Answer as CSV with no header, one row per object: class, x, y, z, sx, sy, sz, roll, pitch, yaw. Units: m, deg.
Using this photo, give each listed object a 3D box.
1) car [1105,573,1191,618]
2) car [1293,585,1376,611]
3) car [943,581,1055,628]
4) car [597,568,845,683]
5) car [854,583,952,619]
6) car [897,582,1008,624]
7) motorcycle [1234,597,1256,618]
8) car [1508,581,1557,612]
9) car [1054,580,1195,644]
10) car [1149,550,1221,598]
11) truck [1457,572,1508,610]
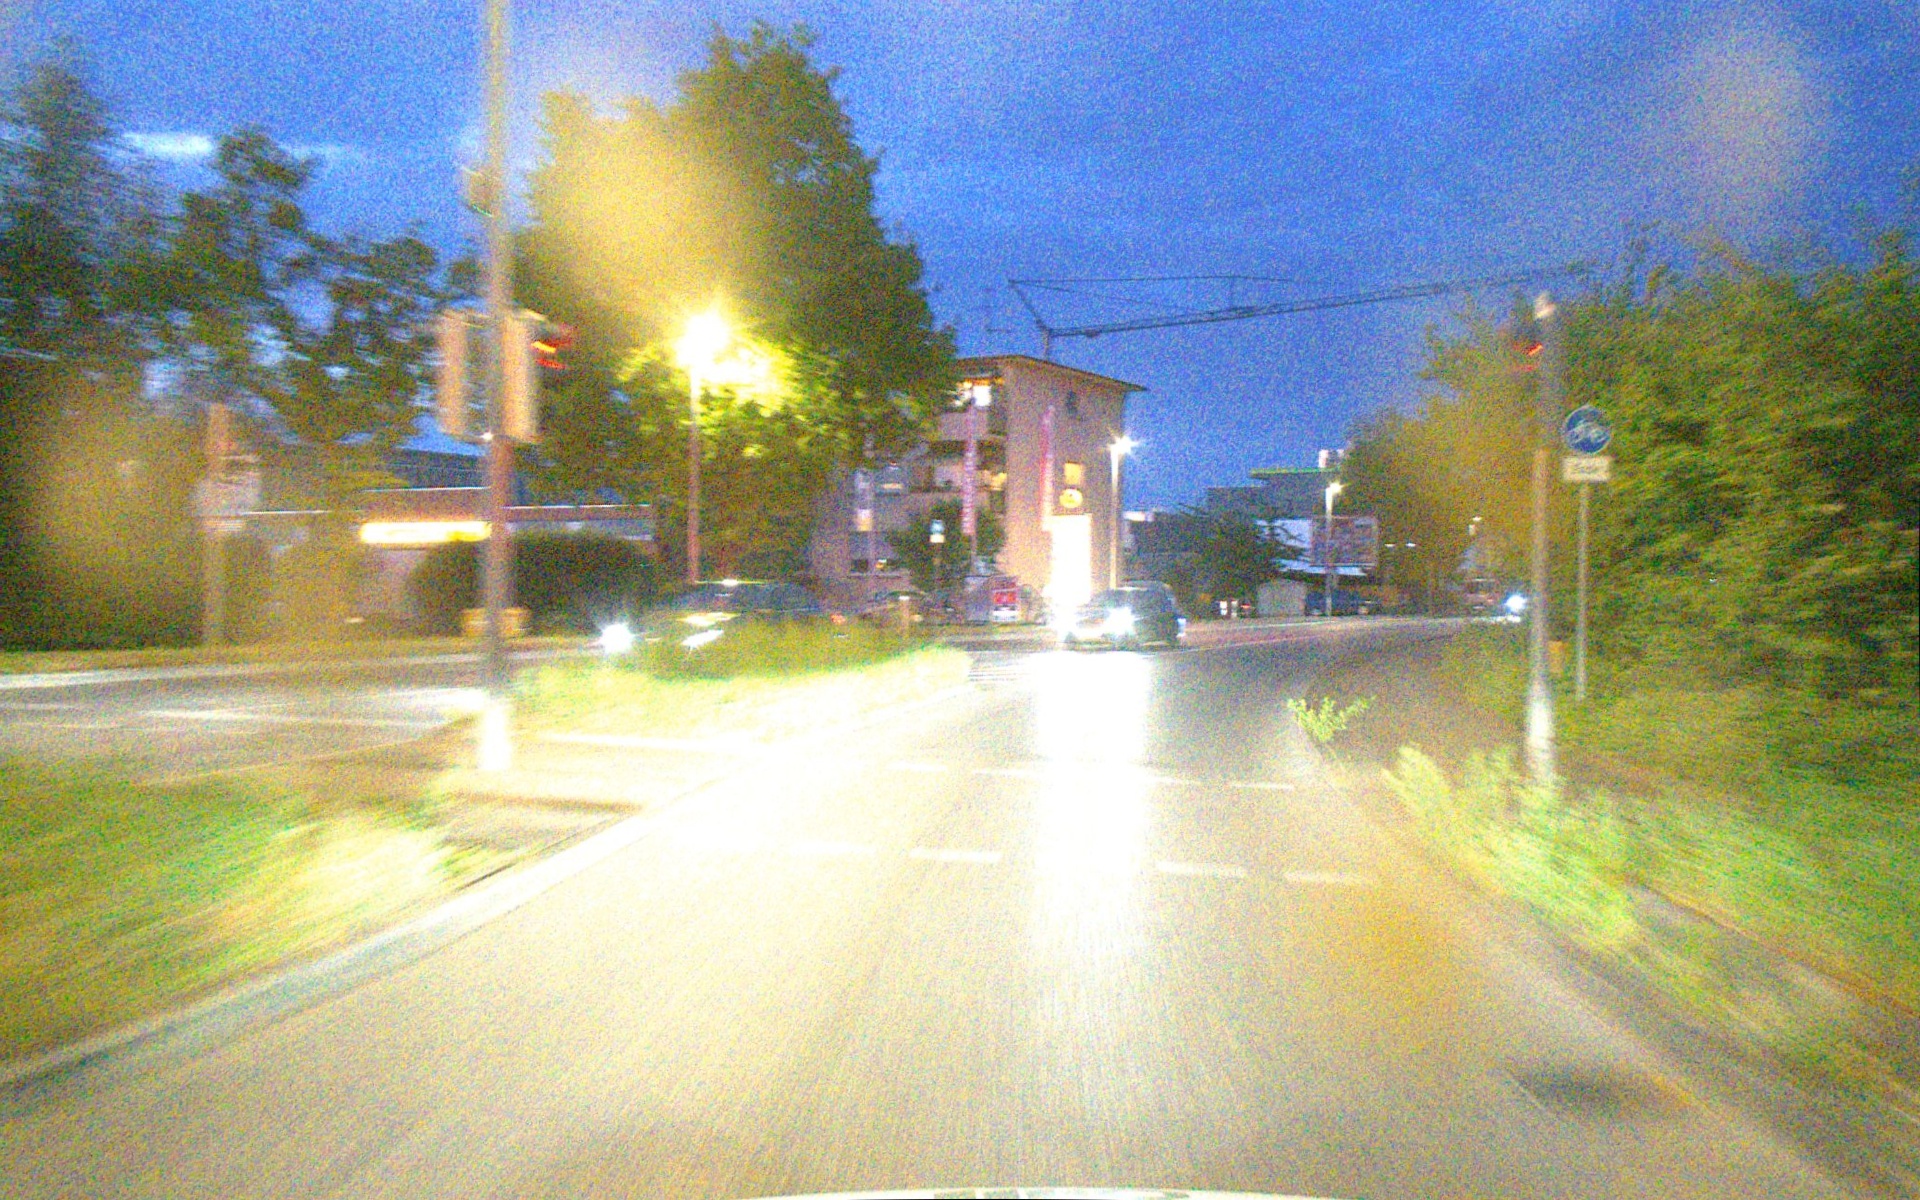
car,7.206,-0.175,62.951,1.722,1.635,4.446,1,1,28
car,20.702,-0.112,91.410,4.262,1.383,1.641,0,0,26
car,1.280,0.117,53.466,3.672,1.445,1.524,0,1,-45
car,-3.300,0.321,23.845,1.722,1.471,4.529,1,0,18
car,-1.932,0.019,56.703,1.524,1.151,3.190,1,1,45
car,-0.216,0.083,54.875,3.671,1.334,1.525,0,1,-44
motorcycle,16.168,0.428,93.755,0.965,1.164,1.850,1,1,18
car,32.148,-0.213,92.846,1.723,1.635,4.443,-1,0,31
car,4.003,0.250,39.625,1.726,1.427,4.580,0,0,29
car,10.377,-1.249,75.994,1.956,2.048,3.994,3,3,29
truck,31.509,-0.539,99.669,2.203,2.167,5.977,-1,0,24
